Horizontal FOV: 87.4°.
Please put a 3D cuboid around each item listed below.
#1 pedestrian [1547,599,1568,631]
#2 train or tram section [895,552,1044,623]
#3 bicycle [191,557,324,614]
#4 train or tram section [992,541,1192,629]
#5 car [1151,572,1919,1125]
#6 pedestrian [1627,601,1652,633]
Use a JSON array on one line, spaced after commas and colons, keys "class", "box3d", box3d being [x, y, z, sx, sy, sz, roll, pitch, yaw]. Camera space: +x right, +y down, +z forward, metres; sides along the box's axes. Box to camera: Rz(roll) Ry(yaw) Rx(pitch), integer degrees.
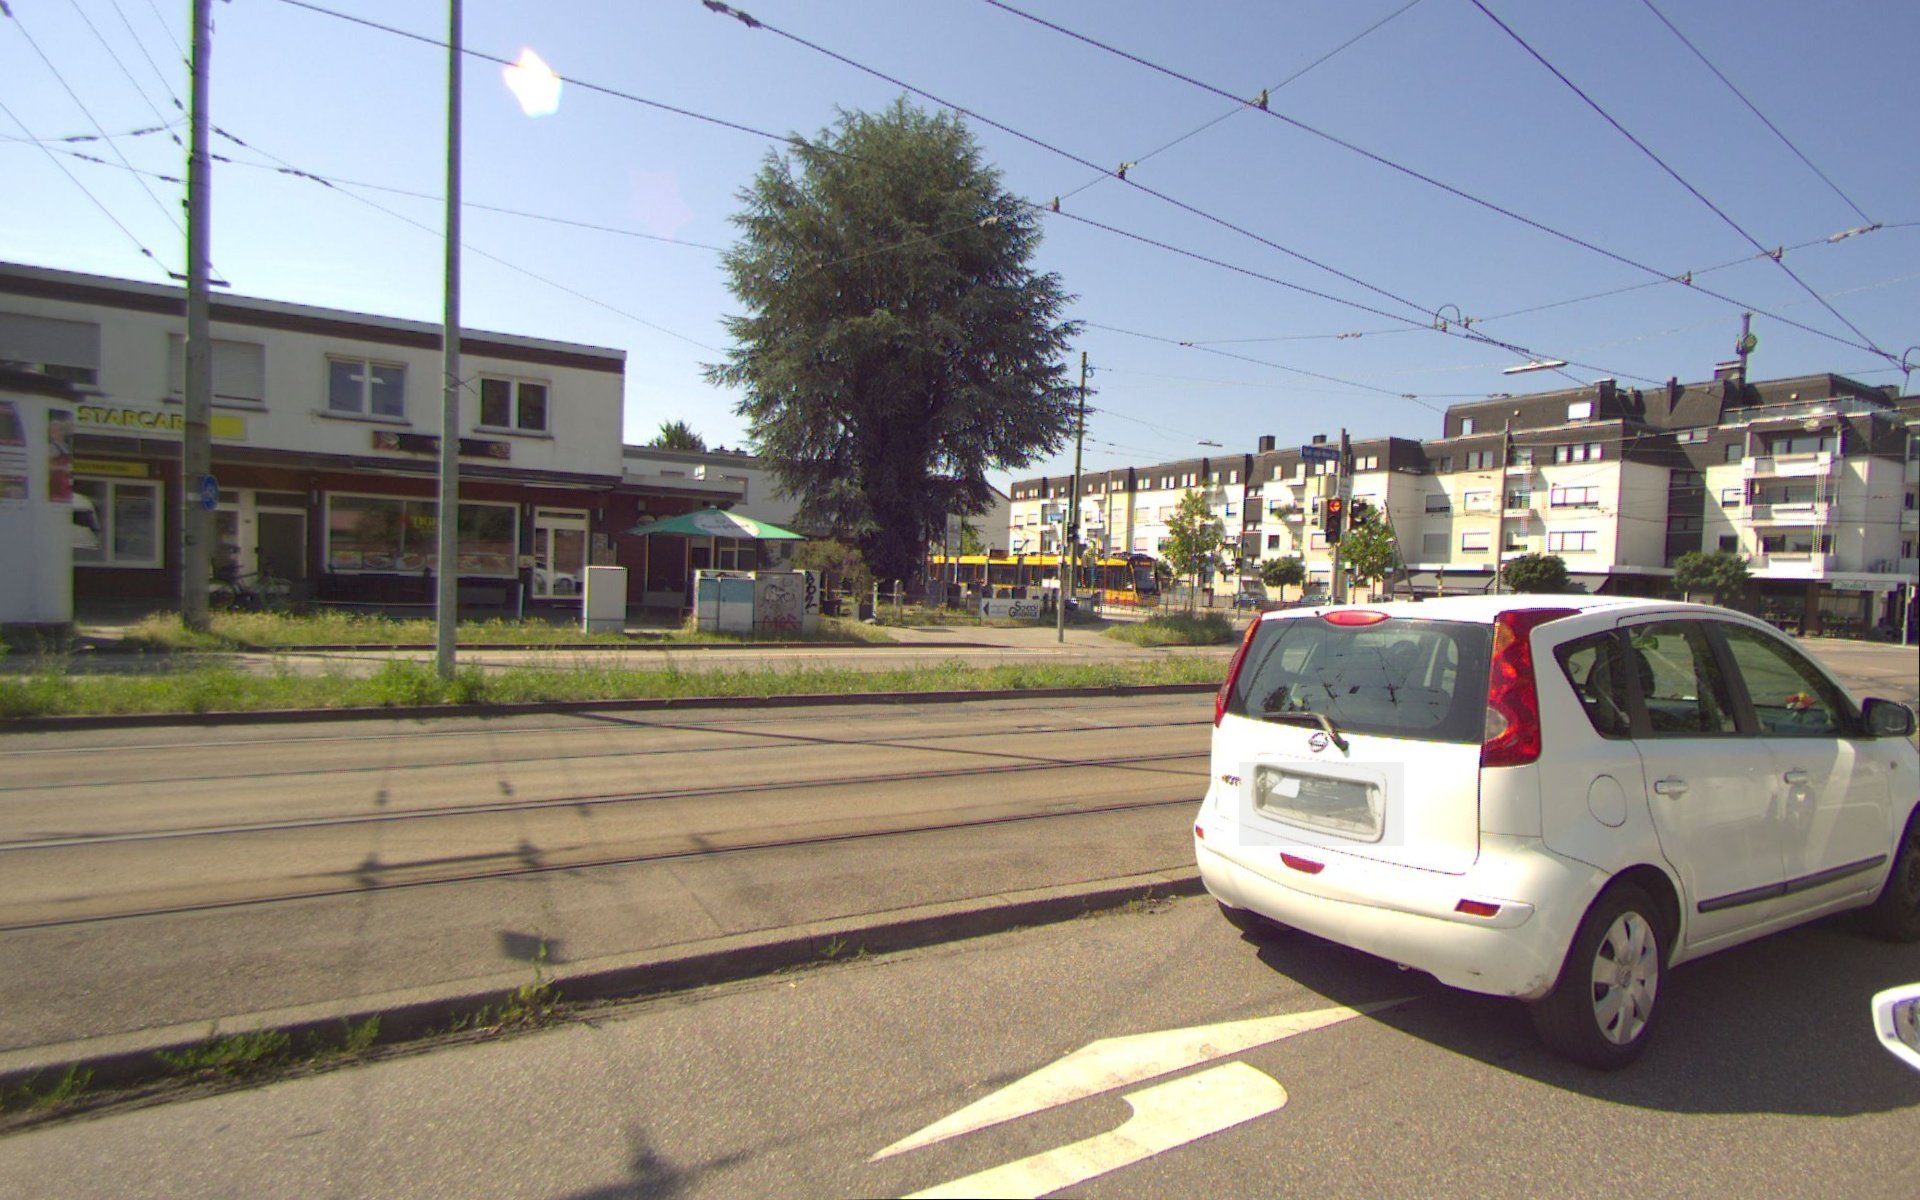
[{"class": "pedestrian", "box3d": [33.858, 0.835, 56.907, 0.957, 1.766, 0.863, 1, -1, 30]}, {"class": "train or tram section", "box3d": [0.370, -0.942, 83.287, 4.681, 5.217, 16.121, 2, -1, -30]}, {"class": "bicycle", "box3d": [-15.516, -0.298, 22.268, 2.306, 1.167, 0.783, 2, -1, -30]}, {"class": "train or tram section", "box3d": [8.527, -0.908, 69.386, 4.681, 5.217, 16.121, 2, -1, -30]}, {"class": "car", "box3d": [2.843, 0.721, 4.547, 3.759, 1.587, 1.634, 0, 0, -31]}, {"class": "pedestrian", "box3d": [37.829, 0.960, 55.920, 0.955, 1.766, 0.864, 2, -1, 19]}]
